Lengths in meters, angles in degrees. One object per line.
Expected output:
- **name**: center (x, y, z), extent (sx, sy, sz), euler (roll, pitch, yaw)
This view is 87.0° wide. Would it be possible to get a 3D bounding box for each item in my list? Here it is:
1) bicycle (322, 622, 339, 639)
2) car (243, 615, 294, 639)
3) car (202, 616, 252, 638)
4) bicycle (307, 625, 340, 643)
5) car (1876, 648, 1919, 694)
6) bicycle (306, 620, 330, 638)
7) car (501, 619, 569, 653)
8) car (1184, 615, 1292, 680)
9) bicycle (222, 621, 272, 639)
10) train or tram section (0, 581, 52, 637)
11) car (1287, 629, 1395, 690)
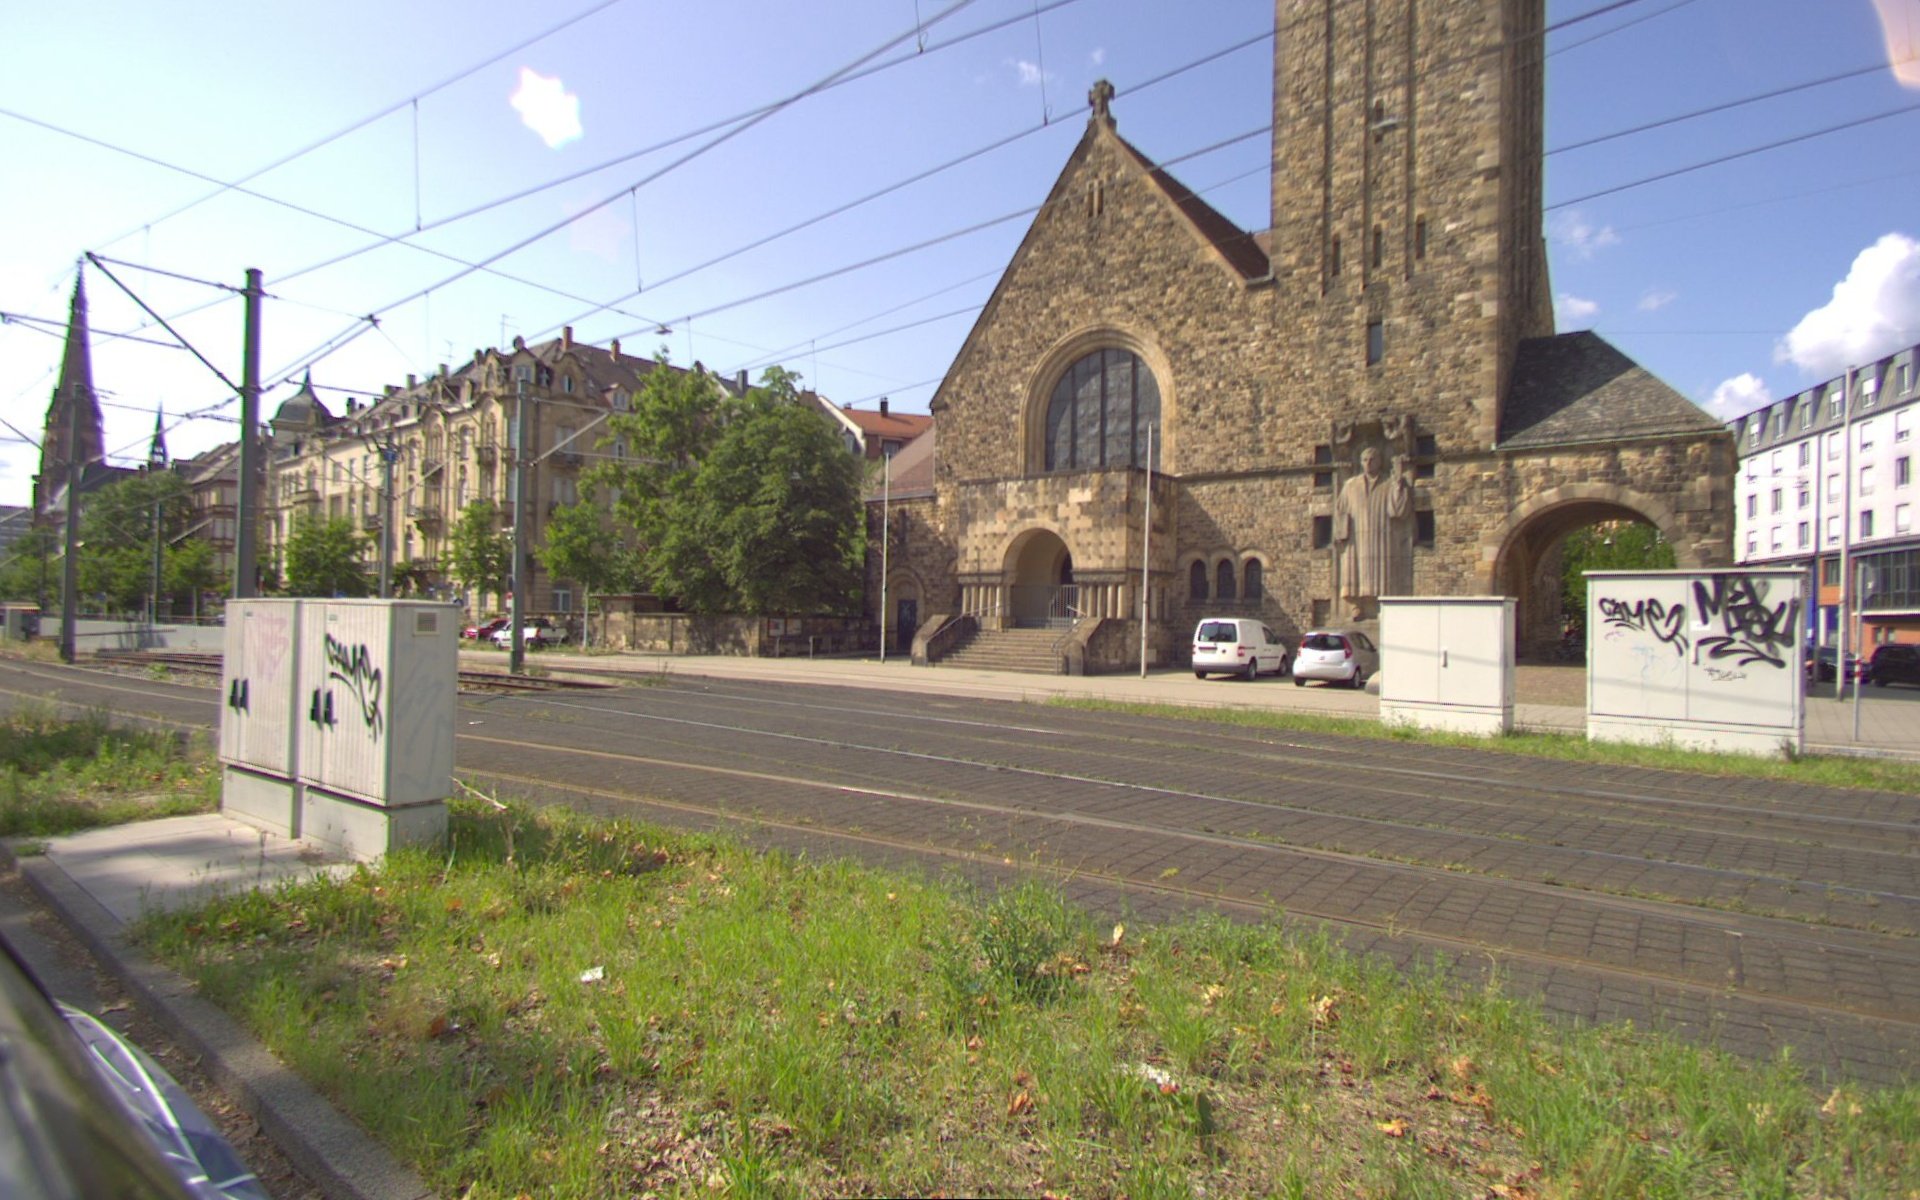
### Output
- **bicycle**: center (-44.201, 2.141, 71.057), extent (2.022, 1.148, 0.423), euler (-1, 0, 40)
- **car**: center (-47.546, 1.864, 69.531), extent (4.705, 1.514, 1.668), euler (0, -2, 41)
- **car**: center (-55.117, 2.006, 76.082), extent (4.481, 1.538, 1.782), euler (0, 0, 37)
- **bicycle**: center (-40.268, 2.148, 64.082), extent (0.470, 1.077, 1.691), euler (0, -2, 34)
- **car**: center (34.854, 2.556, 35.915), extent (1.686, 1.609, 4.054), euler (1, -2, 13)
- **bicycle**: center (-46.315, 2.081, 72.980), extent (2.941, 1.258, 0.651), euler (-1, 0, 40)
- **car**: center (-19.563, 1.628, 46.538), extent (1.648, 1.427, 3.849), euler (5, -4, -41)
- **car**: center (8.593, 1.431, 31.080), extent (1.861, 1.838, 3.965), euler (0, -2, 37)
- **bicycle**: center (-52.181, 2.193, 74.114), extent (0.789, 1.256, 2.928), euler (0, -2, 27)
- **train or tram section**: center (-66.839, 0.643, 70.813), extent (12.822, 3.607, 2.825), euler (0, -2, 39)
- **car**: center (10.775, 1.643, 28.489), extent (1.795, 1.559, 3.730), euler (0, -2, 38)
